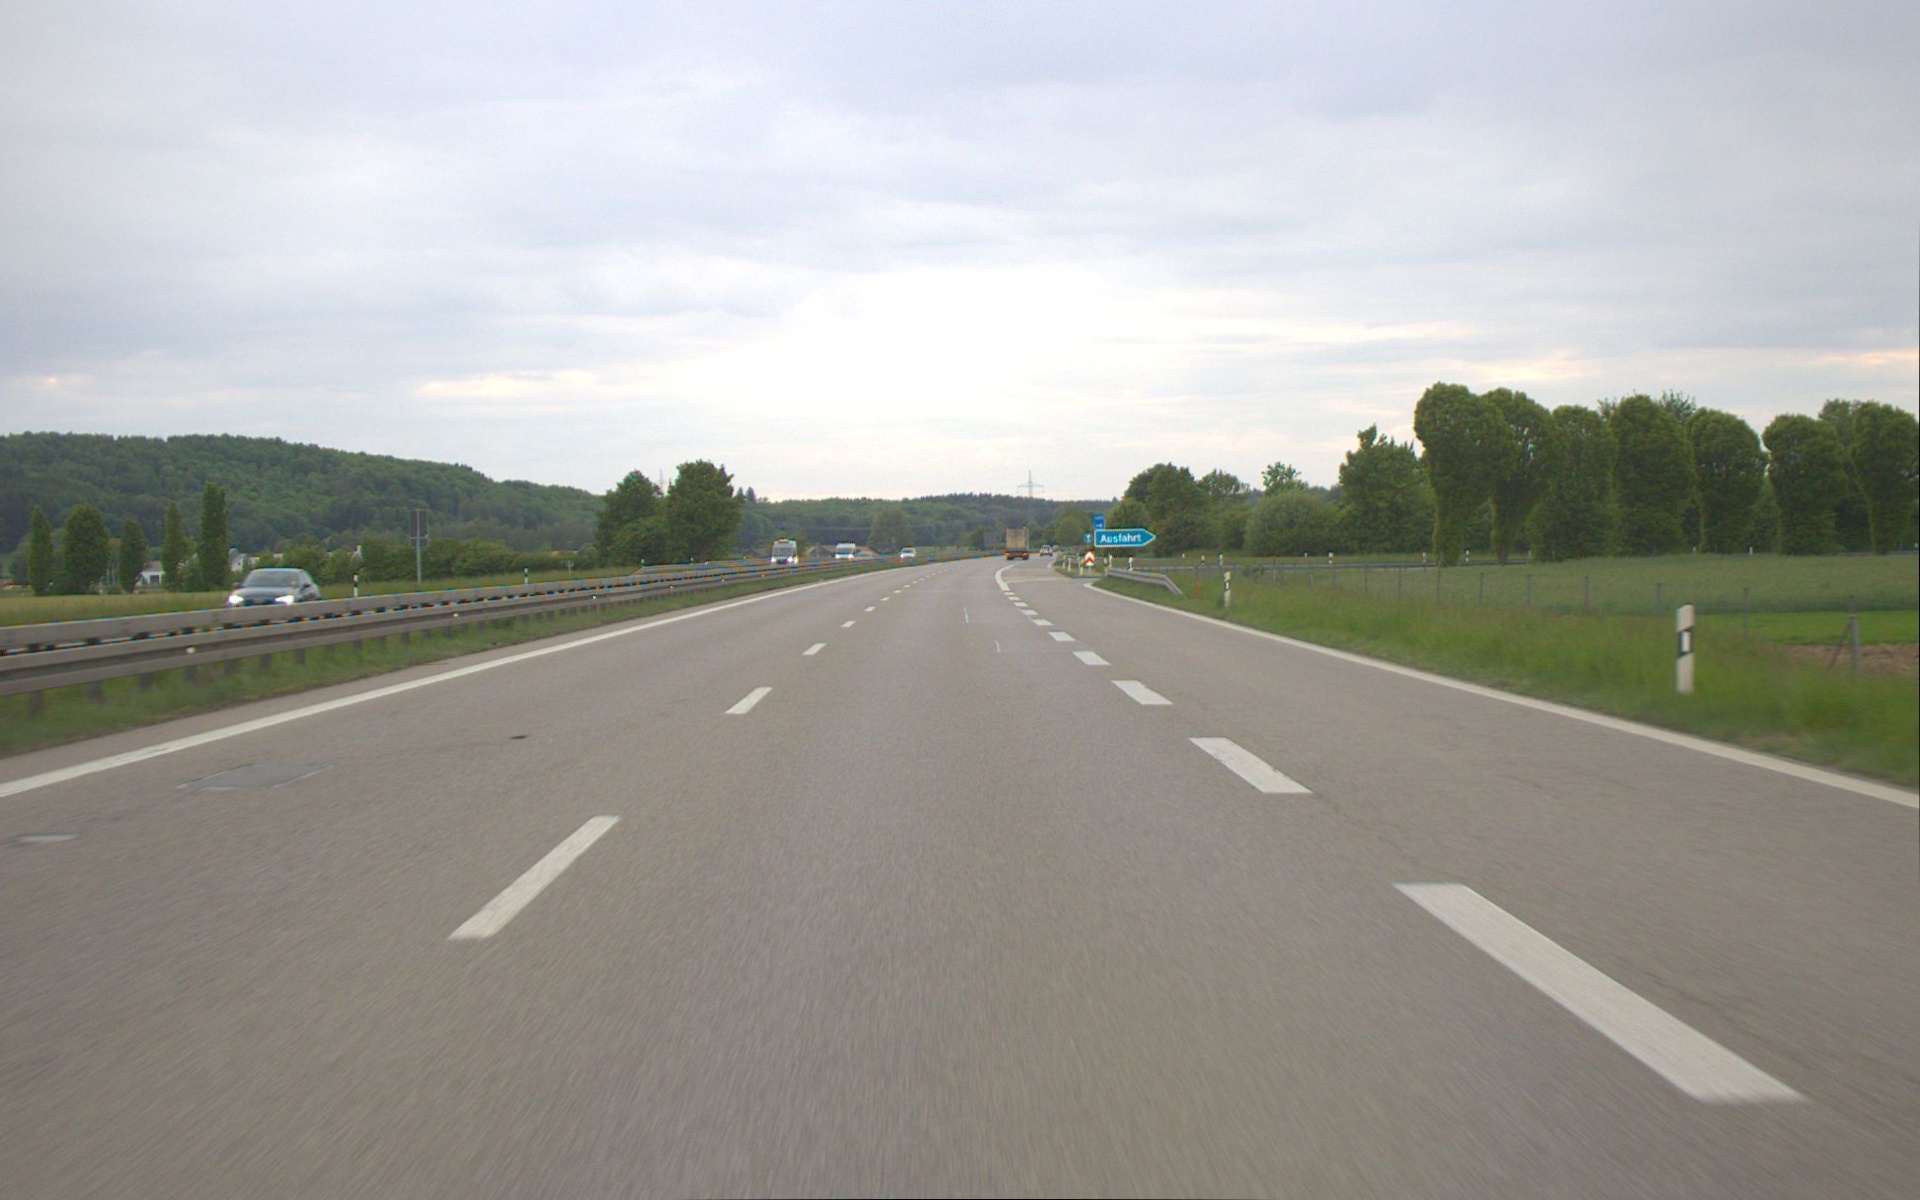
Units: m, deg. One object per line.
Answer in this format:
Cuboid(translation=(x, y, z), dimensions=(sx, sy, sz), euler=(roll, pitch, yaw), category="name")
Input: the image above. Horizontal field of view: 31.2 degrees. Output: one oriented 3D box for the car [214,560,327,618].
Cuboid(translation=(-17.496, -0.301, 87.401), dimensions=(1.993, 1.411, 4.524), euler=(0, 1, 0), category="car")
